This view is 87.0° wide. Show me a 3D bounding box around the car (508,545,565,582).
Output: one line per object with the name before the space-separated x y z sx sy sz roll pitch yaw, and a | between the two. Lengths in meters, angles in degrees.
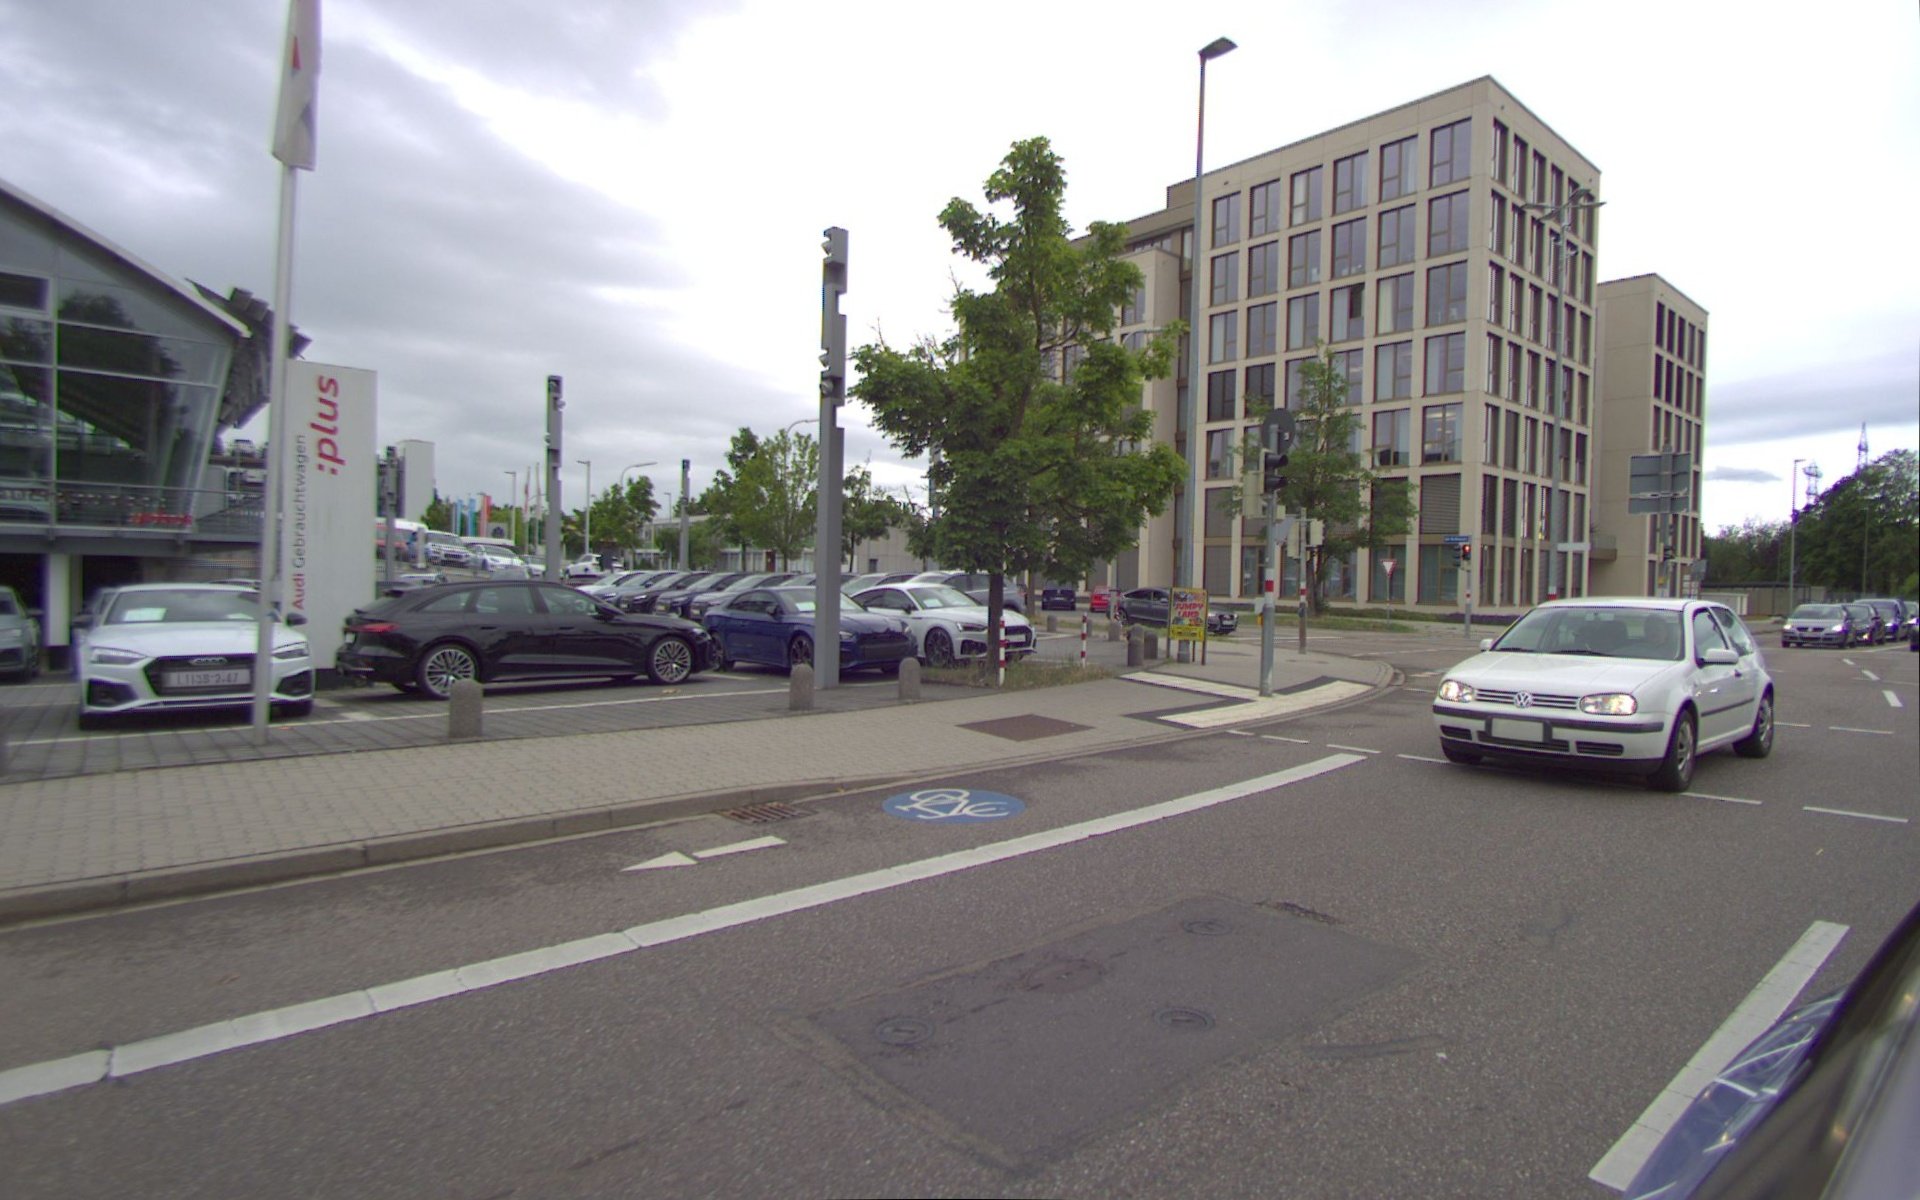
car | -25.217 -2.151 60.150 1.964 2.039 3.994 2 -1 -40

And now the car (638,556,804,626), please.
car | -7.437 -0.348 31.754 4.709 2.038 1.995 -2 2 -43

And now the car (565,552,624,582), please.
car | -42.526 -3.818 117.858 6.024 3.156 2.132 2 -1 -38

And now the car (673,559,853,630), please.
car | -5.751 -0.224 29.907 4.881 1.899 2.049 -2 2 -43

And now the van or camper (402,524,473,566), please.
van or camper | -23.968 -2.473 46.372 1.965 1.672 3.994 2 -1 -40

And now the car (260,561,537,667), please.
car | -11.504 0.218 20.924 4.731 1.963 1.998 0 2 -40

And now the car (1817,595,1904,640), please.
car | 32.873 0.647 36.923 4.076 1.509 1.869 2 -1 -41

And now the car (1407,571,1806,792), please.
car | 5.745 0.565 8.817 3.933 1.496 1.836 1 0 -40

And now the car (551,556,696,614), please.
car | -12.664 -0.625 38.287 4.825 2.038 1.997 -2 2 -42

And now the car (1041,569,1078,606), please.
car | 5.586 -0.679 57.329 1.964 1.990 4.240 1 0 5

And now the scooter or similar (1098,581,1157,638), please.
scooter or similar | 3.887 0.207 23.568 0.547 1.234 1.563 4 0 -23

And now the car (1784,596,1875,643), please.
car | 29.021 0.659 33.733 4.026 1.450 1.749 2 -1 -41

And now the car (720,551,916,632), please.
car | -3.849 -0.302 28.050 4.953 2.038 2.262 -2 2 -42

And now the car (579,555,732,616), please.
car | -10.809 -0.565 36.143 4.825 2.038 1.997 -2 2 -42

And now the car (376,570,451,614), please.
car | -22.161 -0.336 41.218 1.882 1.679 4.455 -1 0 -18

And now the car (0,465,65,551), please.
car | -21.473 -2.036 22.864 1.793 1.683 3.993 2 -1 -41

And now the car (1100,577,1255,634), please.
car | 6.671 0.132 31.505 1.948 1.570 4.614 1 1 -36

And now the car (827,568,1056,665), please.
car | -0.445 0.251 17.962 1.842 1.505 4.224 -1 0 -40

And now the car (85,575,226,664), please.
car | -15.400 0.403 19.367 1.894 1.505 4.257 2 -3 -40

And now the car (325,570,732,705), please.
car | -5.606 0.426 13.513 4.671 1.505 1.890 0 -1 -40

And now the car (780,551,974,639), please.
car | -2.035 -0.201 25.654 4.636 2.038 1.997 -2 2 -41

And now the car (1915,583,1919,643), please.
car | 31.029 0.474 31.133 4.344 1.791 1.997 2 -1 -41

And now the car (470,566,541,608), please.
car | -19.318 -0.551 43.203 1.882 1.679 4.454 -1 0 -12

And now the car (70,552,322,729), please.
car | -8.168 0.385 10.788 1.819 1.505 4.192 0 -1 -39

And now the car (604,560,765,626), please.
car | -9.179 -0.286 33.969 4.825 2.038 1.997 -2 2 -42

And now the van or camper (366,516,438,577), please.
van or camper | -30.665 -2.870 55.540 2.499 3.065 4.837 2 -1 -40

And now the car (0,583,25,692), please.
car | -17.331 0.547 17.250 1.778 1.717 4.313 2 -1 -40

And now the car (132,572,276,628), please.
car | -27.112 0.038 36.370 3.931 1.861 1.756 2 -1 -43

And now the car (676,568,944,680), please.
car | -2.507 0.348 16.001 2.035 1.505 4.507 -2 0 -42

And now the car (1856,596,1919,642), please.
car | 39.302 0.823 42.516 4.076 1.791 1.997 2 -1 -41

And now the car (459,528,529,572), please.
car | -22.109 -2.325 47.935 1.964 1.846 3.994 2 -1 -40

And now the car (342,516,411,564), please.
car | -26.035 -2.619 45.108 1.964 1.872 3.994 2 -1 -40

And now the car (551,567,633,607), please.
car | -16.133 -0.557 44.612 1.887 1.679 4.443 -1 0 2

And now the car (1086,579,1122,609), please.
car | 7.824 -0.336 55.014 1.857 1.571 4.124 1 0 8

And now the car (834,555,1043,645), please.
car | -0.418 -0.085 23.658 4.706 1.886 1.997 -2 2 -42

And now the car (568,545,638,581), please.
car | -17.950 -1.831 50.787 1.964 1.638 3.994 2 -1 -40

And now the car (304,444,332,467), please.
car | -68.150 -15.306 107.447 1.965 1.906 3.994 0 1 -41

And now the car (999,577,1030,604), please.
car | 3.239 -0.570 59.821 1.668 1.530 3.811 1 0 6
